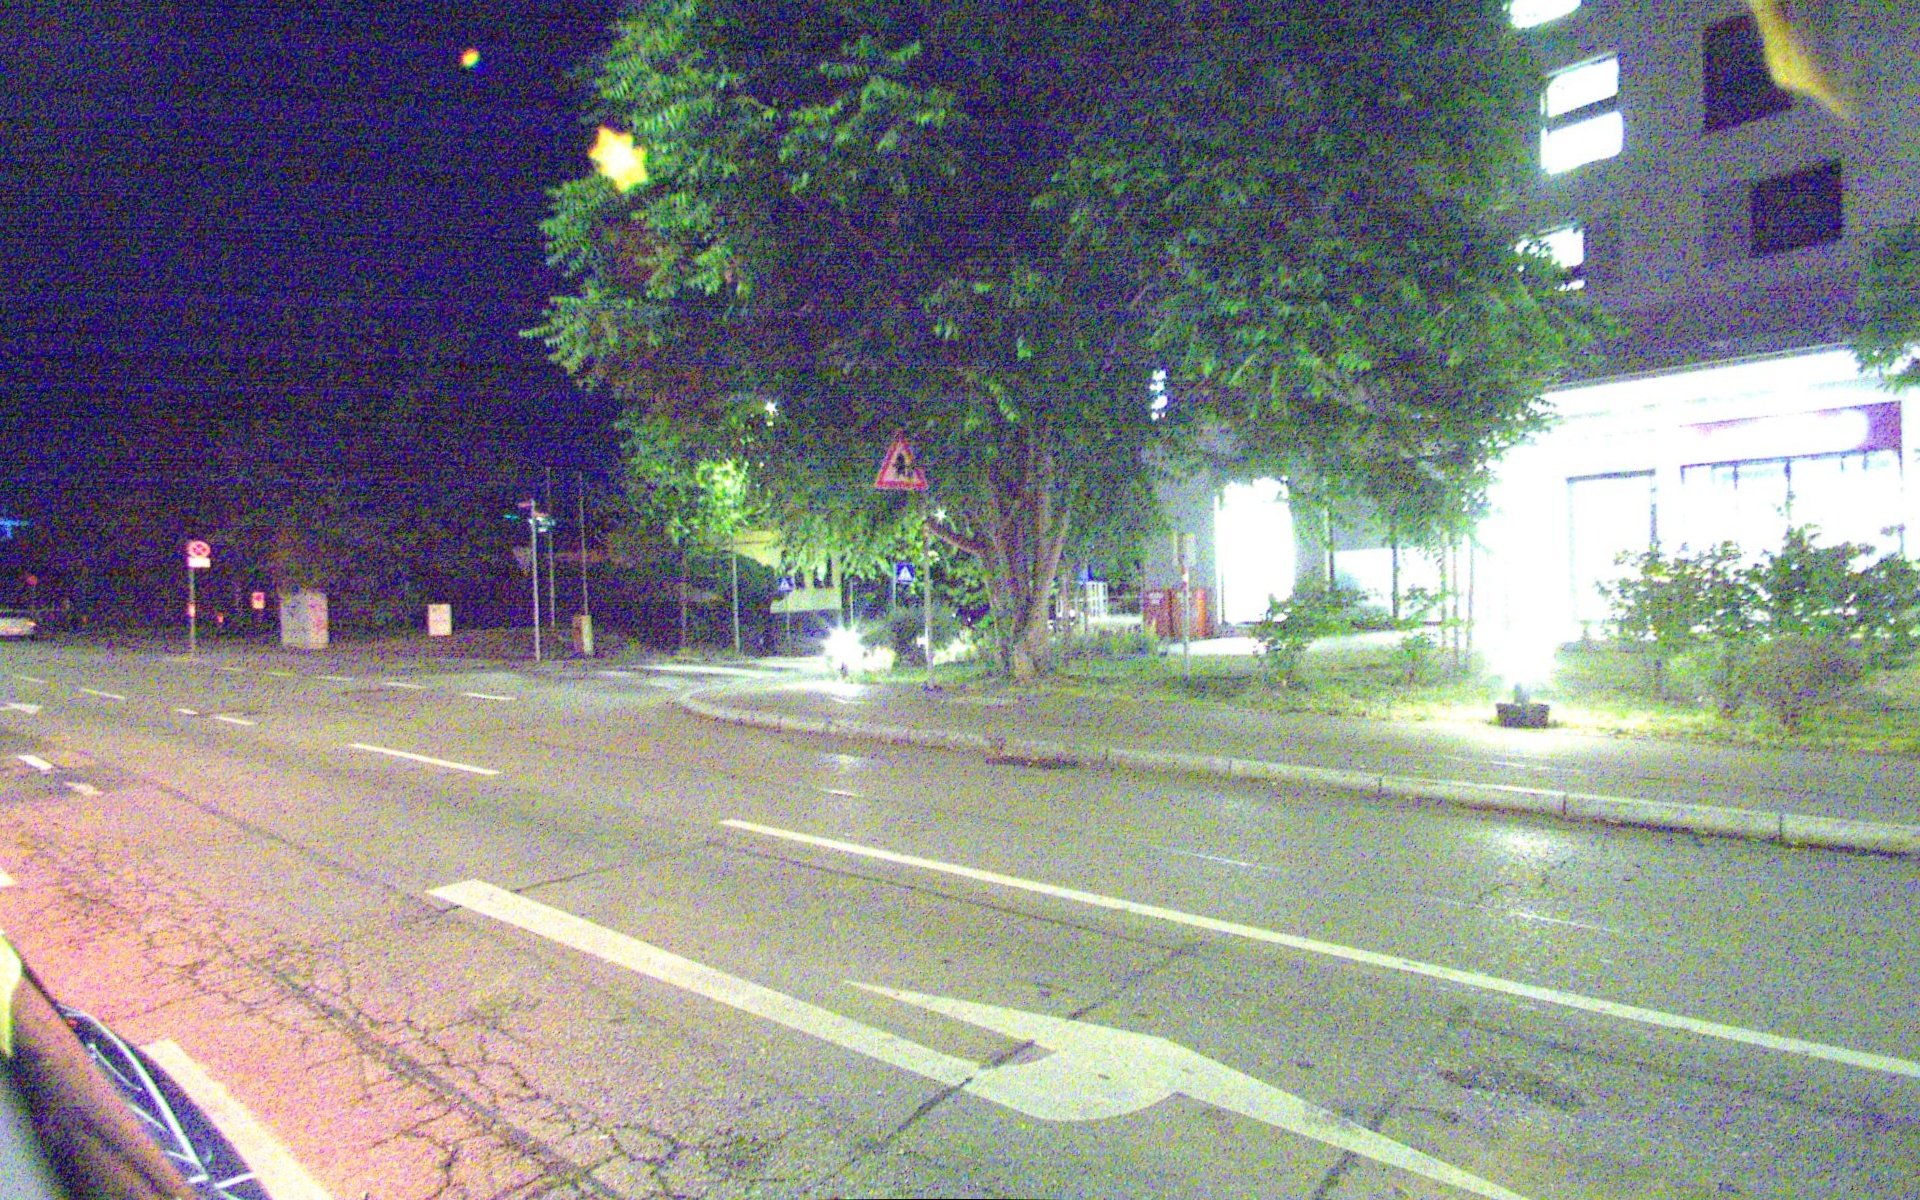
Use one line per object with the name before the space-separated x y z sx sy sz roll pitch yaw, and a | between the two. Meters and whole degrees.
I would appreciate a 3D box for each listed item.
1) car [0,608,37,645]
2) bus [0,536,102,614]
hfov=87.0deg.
car | -43.182 1.174 45.570 3.995 1.604 1.784 -1 0 39
bus | -88.477 -2.233 98.082 14.776 6.990 6.056 -1 0 41
